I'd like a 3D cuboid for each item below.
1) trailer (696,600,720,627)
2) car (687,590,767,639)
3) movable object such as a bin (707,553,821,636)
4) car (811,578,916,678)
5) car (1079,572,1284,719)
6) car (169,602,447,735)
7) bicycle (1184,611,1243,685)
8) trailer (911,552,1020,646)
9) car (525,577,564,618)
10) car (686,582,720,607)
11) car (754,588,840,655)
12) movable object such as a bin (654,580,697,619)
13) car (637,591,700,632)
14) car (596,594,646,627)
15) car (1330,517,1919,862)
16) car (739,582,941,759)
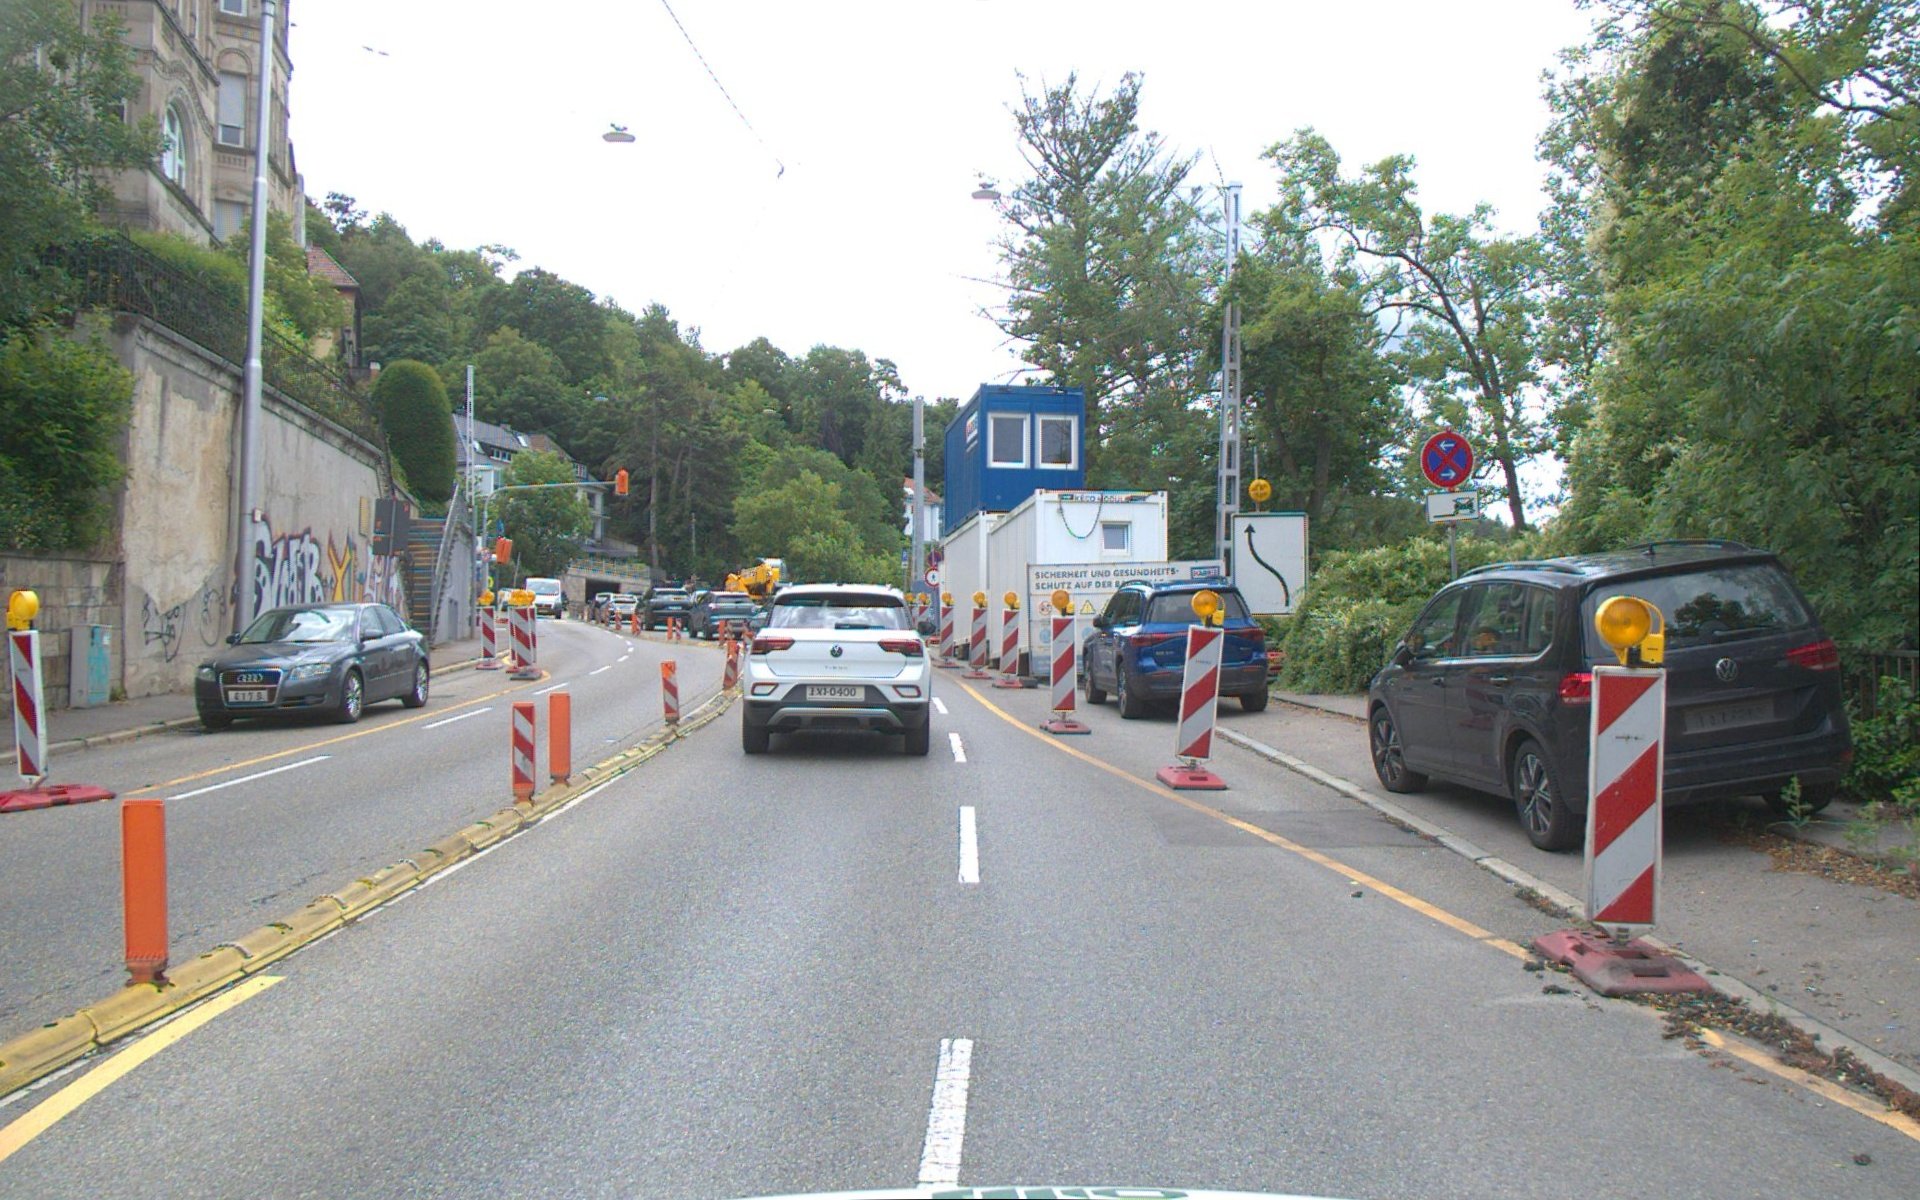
[{"bbox_3d":[-14.604,0.791,95.778,1.265,1.501,3.624,2,0,-11],"label":"trailer"},{"bbox_3d":[-7.691,0.464,54.348,1.769,1.537,3.974,0,0,-21],"label":"car"},{"bbox_3d":[-8.168,-0.232,67.999,2.771,3.124,7.774,2,0,-21],"label":"movable object such as a bin"},{"bbox_3d":[-1.801,0.471,30.050,1.774,1.692,3.996,0,0,-5],"label":"car"},{"bbox_3d":[2.785,0.535,21.799,1.803,1.671,4.499,-2,0,-4],"label":"car"},{"bbox_3d":[-7.920,0.758,20.569,1.763,1.397,4.387,-2,0,-1],"label":"car"},{"bbox_3d":[4.082,0.753,26.722,0.489,1.127,1.798,-2,0,-5],"label":"bicycle"},{"bbox_3d":[0.093,-0.040,49.139,2.071,2.594,5.101,-1,0,-13],"label":"trailer"},{"bbox_3d":[-23.280,-0.166,92.550,2.033,2.226,4.943,-1,1,-15],"label":"car"},{"bbox_3d":[-16.056,-0.312,103.320,1.763,1.537,3.986,1,0,-13],"label":"car"},{"bbox_3d":[-4.377,0.535,44.024,1.779,1.692,3.986,0,0,-13],"label":"car"},{"bbox_3d":[-20.538,-0.060,119.719,2.166,2.709,4.944,2,0,0],"label":"movable object such as a bin"},{"bbox_3d":[-11.553,0.421,65.332,1.768,1.536,3.976,-1,0,-20],"label":"car"},{"bbox_3d":[-16.477,0.489,80.233,1.768,1.536,3.976,-1,0,-20],"label":"car"},{"bbox_3d":[4.126,0.475,11.230,1.825,1.703,4.643,-5,0,-4],"label":"car"},{"bbox_3d":[-1.143,0.615,16.567,1.773,1.558,3.998,0,0,-3],"label":"car"}]
